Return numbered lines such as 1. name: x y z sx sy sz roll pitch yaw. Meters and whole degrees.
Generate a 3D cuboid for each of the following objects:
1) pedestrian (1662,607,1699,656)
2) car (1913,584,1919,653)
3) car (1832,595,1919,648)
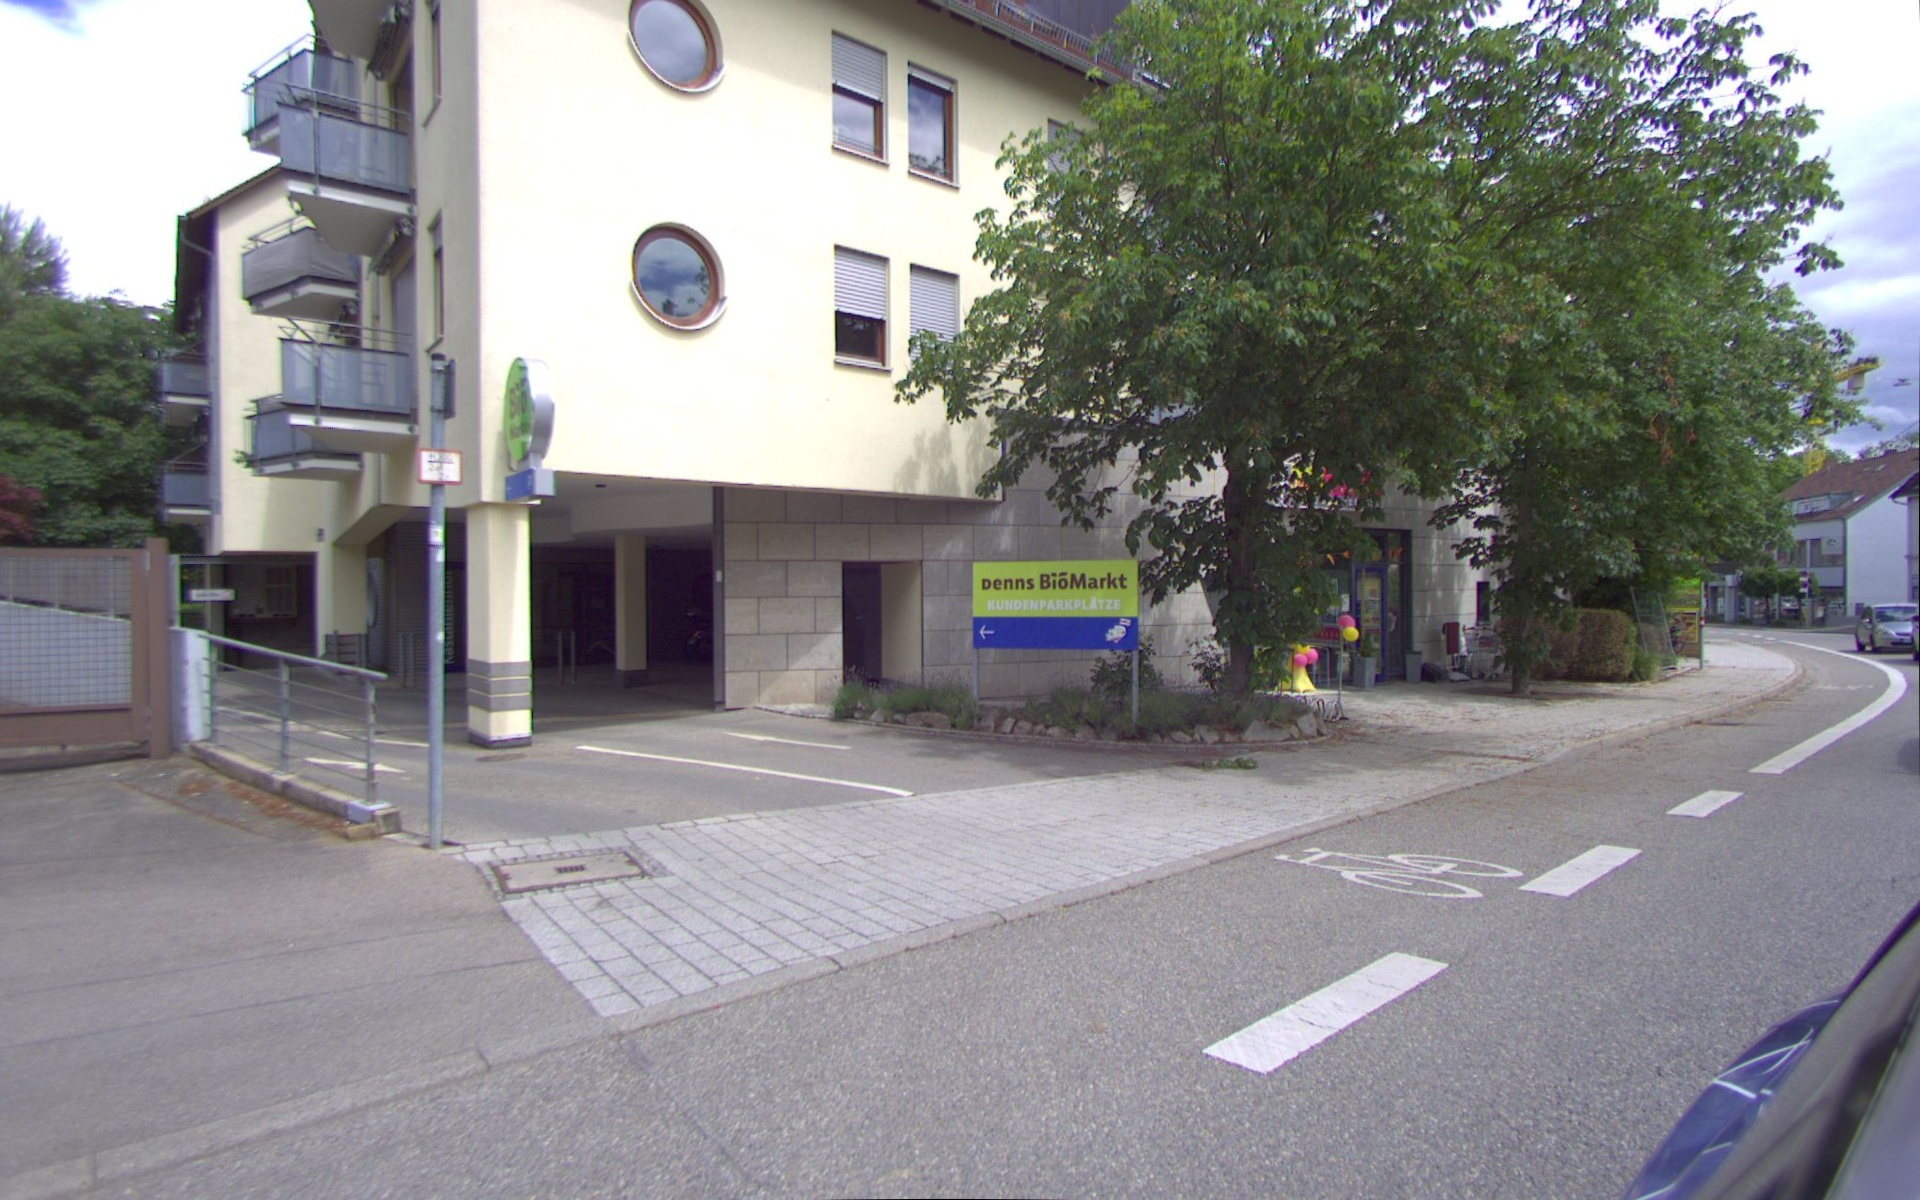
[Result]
1. pedestrian: 20.130 0.871 28.260 0.741 1.317 0.729 0 0 -45
2. car: 25.520 0.469 25.473 1.843 1.839 3.944 -3 -1 39
3. car: 29.112 0.629 31.663 1.676 1.505 3.965 -3 -1 25
